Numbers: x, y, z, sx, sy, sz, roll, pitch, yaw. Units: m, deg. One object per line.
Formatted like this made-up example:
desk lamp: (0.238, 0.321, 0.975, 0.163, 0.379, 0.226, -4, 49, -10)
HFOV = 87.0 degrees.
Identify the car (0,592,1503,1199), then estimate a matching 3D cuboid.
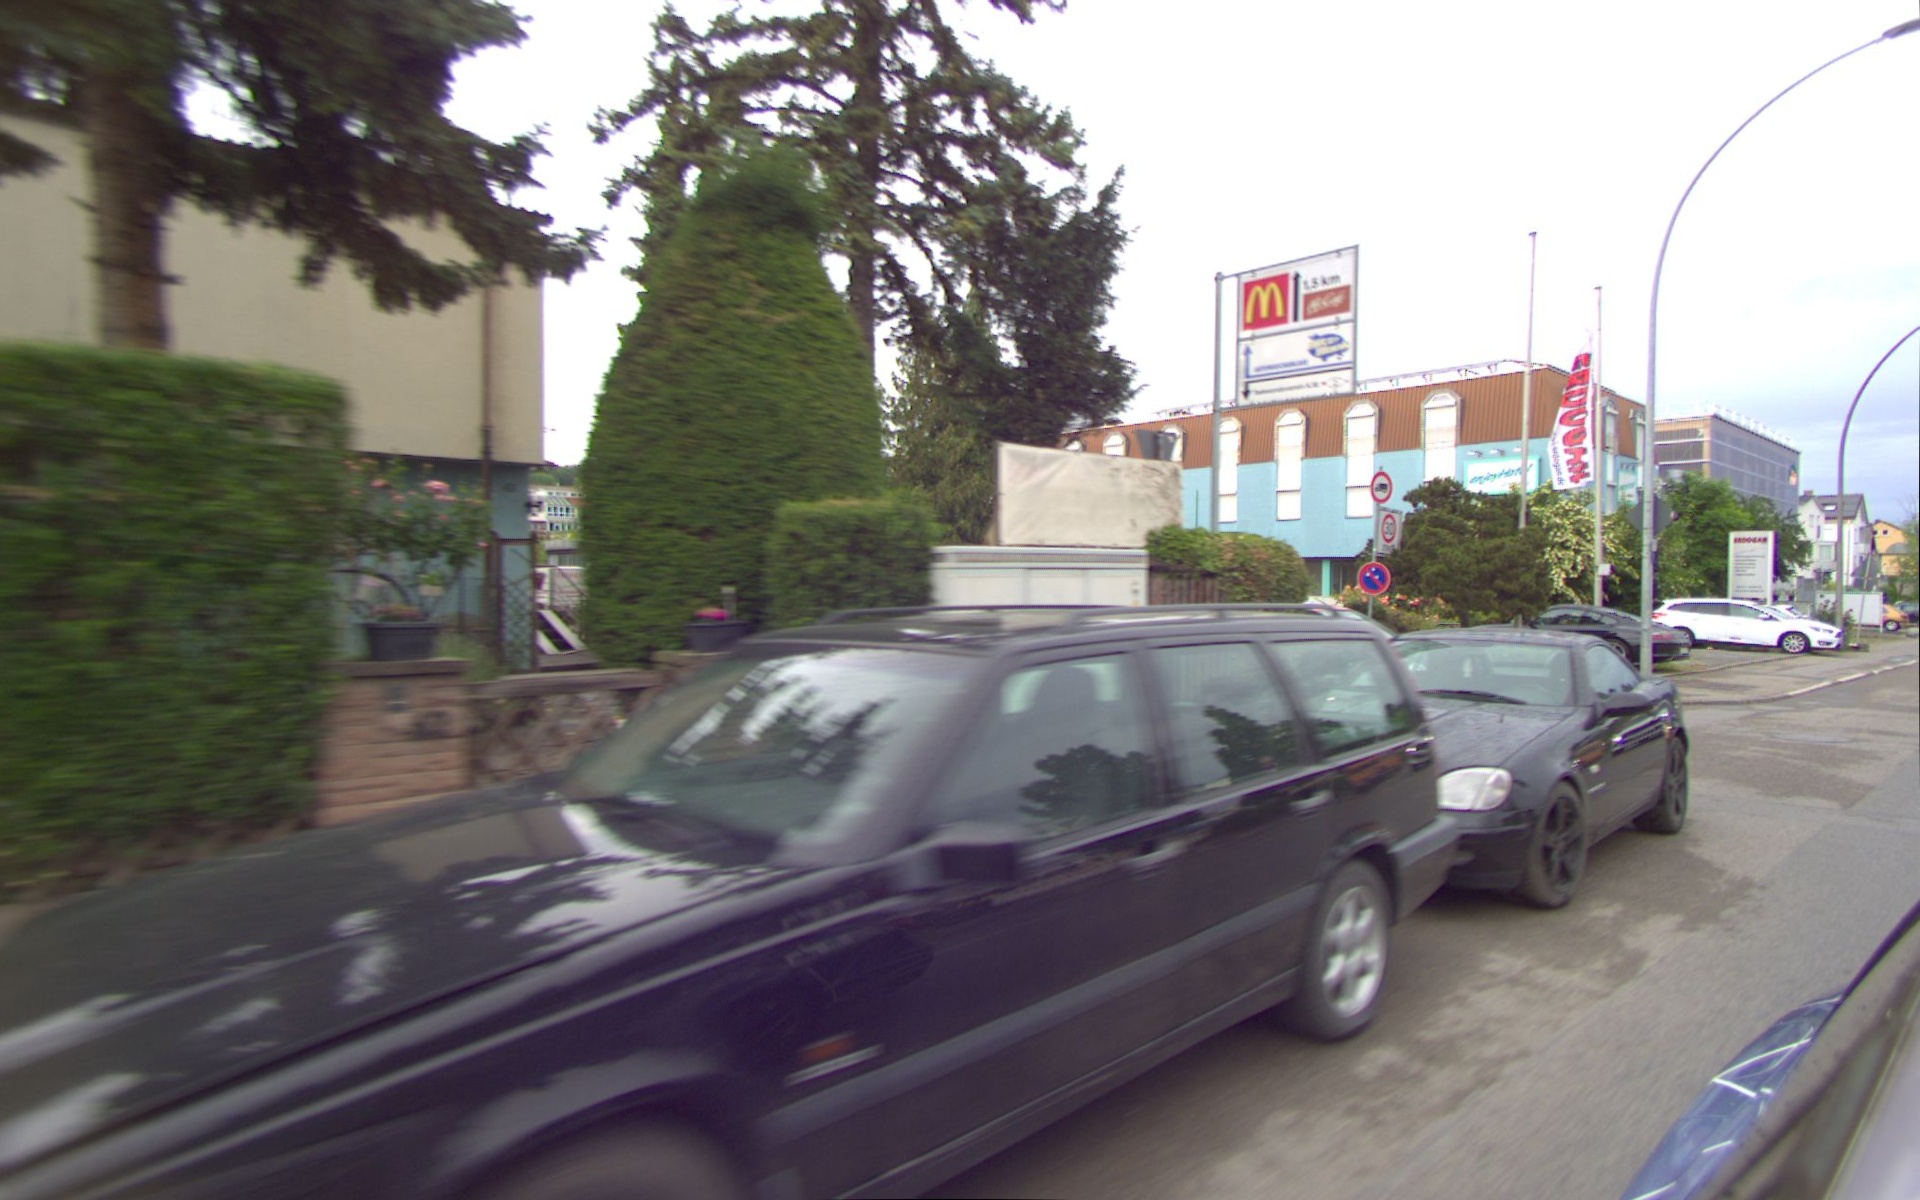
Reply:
car: (-0.030, 0.712, 3.177, 4.697, 1.437, 1.658, -1, 0, -43)

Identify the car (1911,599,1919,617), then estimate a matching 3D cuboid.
car: (77.365, 0.619, 79.072, 1.818, 1.396, 4.327, -1, 0, -41)

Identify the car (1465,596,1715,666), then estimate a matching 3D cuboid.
car: (12.911, 0.578, 20.932, 1.915, 1.282, 3.996, -1, 0, -38)

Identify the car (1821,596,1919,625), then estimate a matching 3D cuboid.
car: (48.662, 0.517, 53.954, 1.602, 1.448, 3.993, 0, 1, -41)

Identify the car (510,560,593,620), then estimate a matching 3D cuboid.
car: (-22.362, -0.532, 55.265, 2.592, 3.043, 6.051, 0, 0, -39)

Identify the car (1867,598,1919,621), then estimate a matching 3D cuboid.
car: (64.661, 0.624, 69.003, 1.800, 1.508, 3.975, 0, 0, -39)

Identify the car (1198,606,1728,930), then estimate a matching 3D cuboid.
car: (3.322, 0.741, 6.285, 4.023, 1.358, 1.591, 0, -1, -43)

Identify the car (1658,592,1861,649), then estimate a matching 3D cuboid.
car: (22.975, 0.521, 29.201, 1.870, 1.494, 4.345, -1, 1, -41)

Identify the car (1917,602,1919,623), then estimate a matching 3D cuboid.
car: (75.532, 0.953, 76.517, 1.860, 1.645, 4.453, -1, 0, -41)

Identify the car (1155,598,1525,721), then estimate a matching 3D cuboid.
car: (4.682, 0.630, 12.889, 1.917, 1.282, 3.992, -1, 0, -42)

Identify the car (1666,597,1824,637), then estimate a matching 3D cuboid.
car: (29.346, 0.590, 37.932, 1.848, 1.410, 4.421, 0, 0, -42)
